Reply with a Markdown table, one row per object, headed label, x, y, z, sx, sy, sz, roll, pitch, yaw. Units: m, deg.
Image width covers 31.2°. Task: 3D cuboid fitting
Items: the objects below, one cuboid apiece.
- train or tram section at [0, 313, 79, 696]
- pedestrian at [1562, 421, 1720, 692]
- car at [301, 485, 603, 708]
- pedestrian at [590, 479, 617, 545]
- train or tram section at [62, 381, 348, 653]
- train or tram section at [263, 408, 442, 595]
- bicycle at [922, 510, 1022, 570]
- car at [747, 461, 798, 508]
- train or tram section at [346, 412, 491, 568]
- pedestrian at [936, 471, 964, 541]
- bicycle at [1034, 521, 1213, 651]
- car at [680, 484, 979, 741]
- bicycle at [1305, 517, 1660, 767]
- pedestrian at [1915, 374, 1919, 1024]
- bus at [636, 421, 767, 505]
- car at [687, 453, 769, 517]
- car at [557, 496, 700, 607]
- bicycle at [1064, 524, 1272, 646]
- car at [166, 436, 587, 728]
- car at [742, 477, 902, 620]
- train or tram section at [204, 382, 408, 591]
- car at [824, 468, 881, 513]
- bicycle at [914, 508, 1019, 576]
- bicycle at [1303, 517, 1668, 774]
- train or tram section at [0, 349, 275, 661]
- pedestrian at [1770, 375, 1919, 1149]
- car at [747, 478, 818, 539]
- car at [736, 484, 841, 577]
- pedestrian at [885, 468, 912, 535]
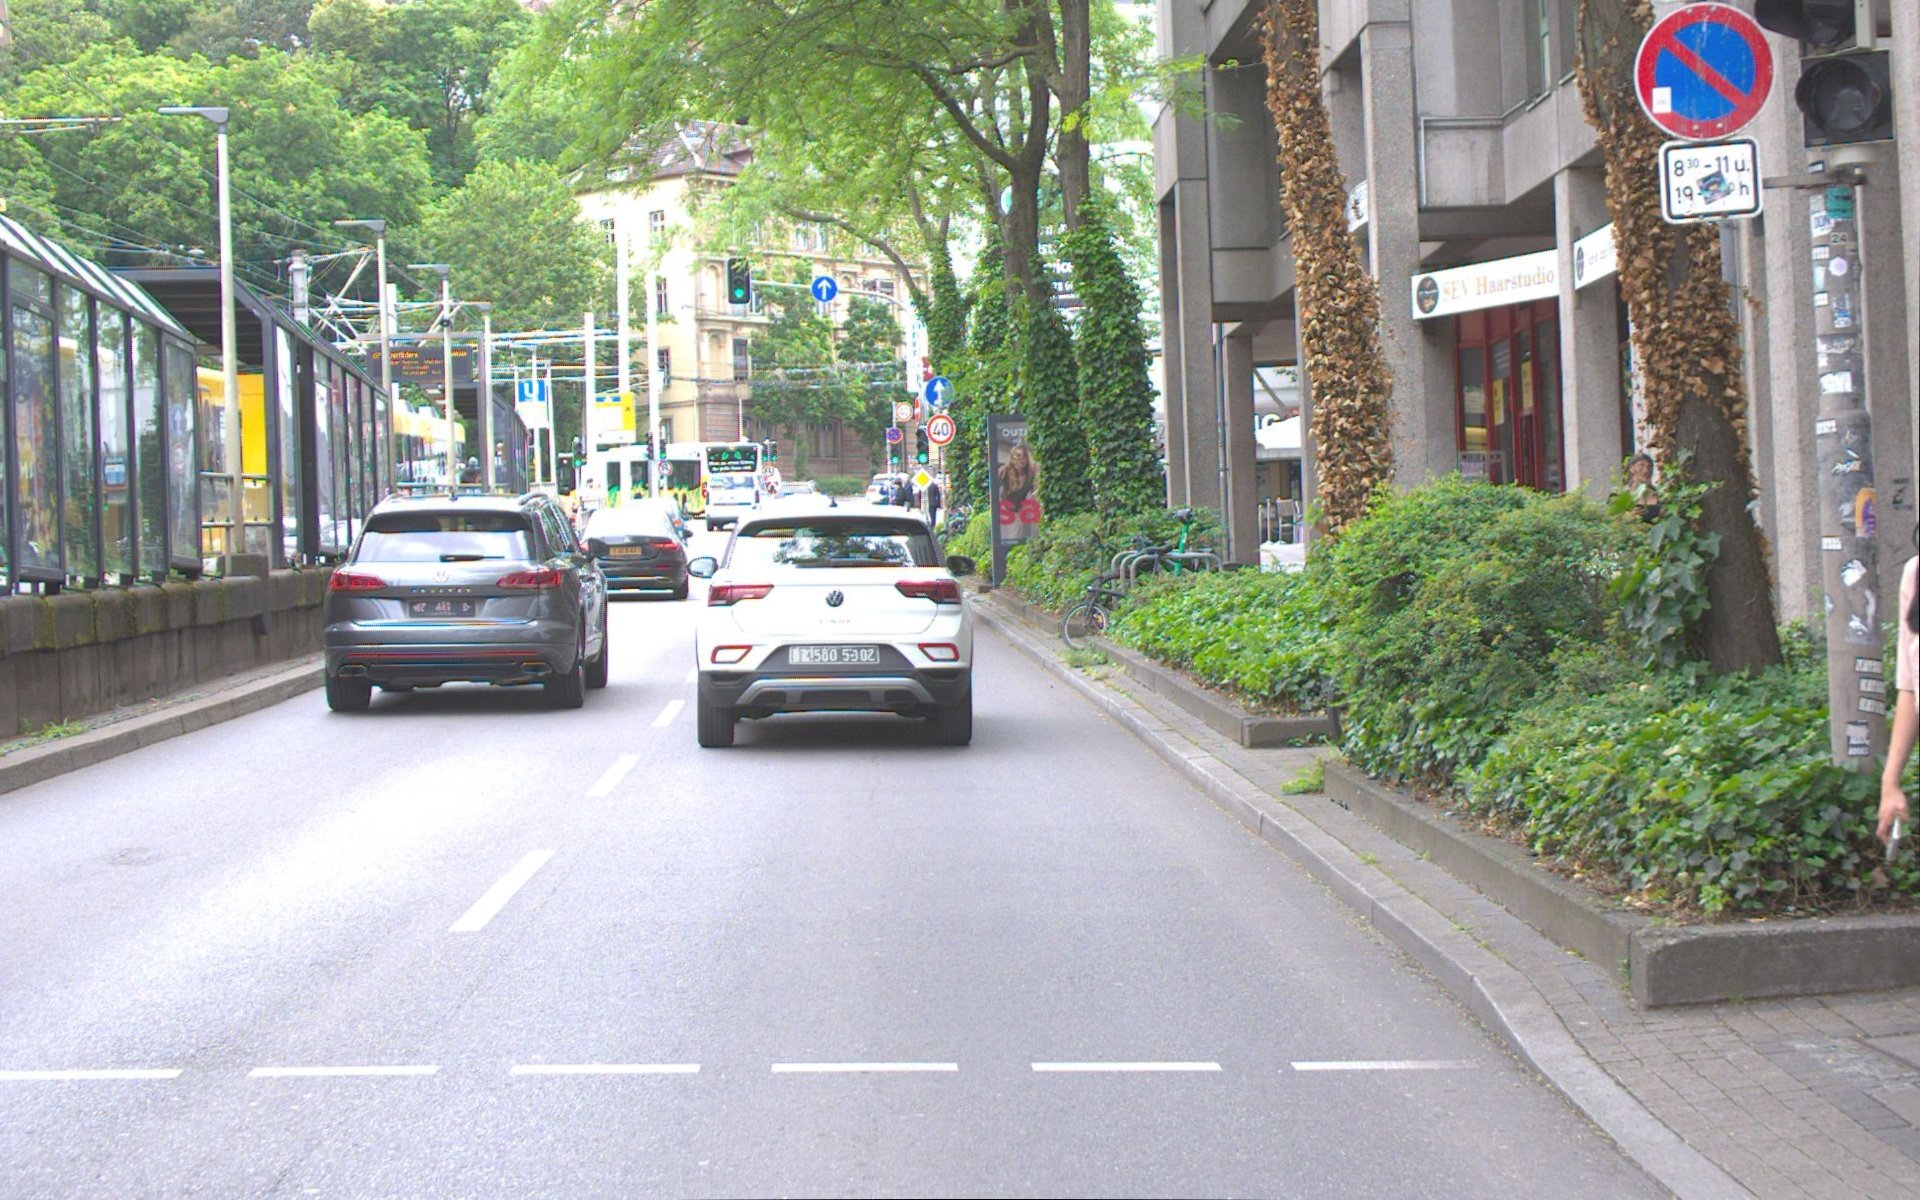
| label | x | y | z | sx | sy | sz | roll | pitch | yaw |
| --- | --- | --- | --- | --- | --- | --- | --- | --- | --- |
| train or tram section | -10.224 | -0.878 | 31.732 | 2.835 | 3.509 | 5.752 | 0 | 1 | -2 |
| pedestrian | 4.625 | -0.314 | 23.396 | 0.762 | 1.776 | 0.848 | -3 | 3 | -7 |
| car | -3.979 | -0.085 | 27.532 | 1.993 | 1.630 | 4.001 | -1 | 2 | -3 |
| pedestrian | -10.974 | -2.710 | 105.832 | 0.762 | 2.007 | 0.838 | 0 | 0 | -2 |
| train or tram section | -10.760 | -1.182 | 49.656 | 2.813 | 3.654 | 6.752 | 0 | 1 | -2 |
| train or tram section | -12.372 | -1.989 | 70.497 | 2.813 | 3.654 | 6.752 | 0 | 1 | -3 |
| bicycle | 0.233 | -1.144 | 66.041 | 1.881 | 1.133 | 0.808 | 0 | 0 | 4 |
| car | -7.256 | -4.469 | 133.433 | 1.884 | 1.678 | 4.161 | 0 | 0 | -2 |
| train or tram section | -13.149 | -2.650 | 84.004 | 2.813 | 3.654 | 6.752 | 0 | 1 | -3 |
| pedestrian | -0.282 | -2.738 | 100.109 | 0.762 | 2.007 | 0.838 | 0 | 0 | 3 |
| bicycle | 1.542 | -0.139 | 32.605 | 1.620 | 1.124 | 0.613 | -3 | 1 | 2 |
| car | -0.907 | 0.017 | 23.322 | 1.837 | 1.578 | 4.157 | 0 | 2 | -3 |
| bicycle | 2.703 | 0.206 | 17.811 | 1.707 | 1.180 | 0.449 | -3 | 1 | -9 |
| pedestrian | 2.926 | 0.272 | 9.090 | 0.518 | 1.783 | 0.764 | 0 | 0 | -6 |
| bus | -11.056 | -5.717 | 145.533 | 3.371 | 3.054 | 13.328 | 0 | 0 | -14 |
| car | -7.958 | -3.933 | 118.349 | 2.365 | 2.007 | 5.148 | 0 | 0 | 1 |
| car | -5.238 | -0.807 | 54.723 | 1.912 | 1.683 | 4.000 | 0 | 2 | 0 |
| bicycle | 2.041 | -0.154 | 33.840 | 1.915 | 1.073 | 0.613 | -3 | 1 | -5 |
| car | -4.299 | -0.126 | 26.269 | 2.364 | 2.007 | 5.148 | 0 | 0 | 0 |
| car | -1.720 | -0.608 | 42.648 | 1.884 | 1.678 | 4.161 | 0 | 0 | -3 |
| train or tram section | -11.992 | -2.047 | 63.608 | 2.813 | 3.654 | 6.752 | 0 | 1 | -3 |
| car | -4.318 | -4.361 | 137.954 | 1.884 | 1.678 | 4.162 | 0 | 0 | -8 |
| bicycle | 0.120 | -1.084 | 64.545 | 1.881 | 1.262 | 0.764 | 0 | 0 | 9 |
| bicycle | 2.644 | 0.219 | 17.325 | 1.707 | 1.180 | 0.449 | -3 | 1 | -9 |
| train or tram section | -10.562 | -1.167 | 43.326 | 2.813 | 3.654 | 5.903 | 0 | 1 | -2 |
| pedestrian | 2.445 | 0.332 | 7.925 | 0.835 | 1.698 | 0.764 | -3 | 1 | -6 |
| car | -5.199 | -2.665 | 101.135 | 1.885 | 1.678 | 4.161 | 0 | 0 | 0 |
| car | -3.237 | -1.297 | 65.386 | 1.884 | 1.678 | 4.161 | 0 | 0 | -1 |
| pedestrian | -1.885 | -3.004 | 104.809 | 0.762 | 2.007 | 0.838 | 0 | 0 | 3 |
